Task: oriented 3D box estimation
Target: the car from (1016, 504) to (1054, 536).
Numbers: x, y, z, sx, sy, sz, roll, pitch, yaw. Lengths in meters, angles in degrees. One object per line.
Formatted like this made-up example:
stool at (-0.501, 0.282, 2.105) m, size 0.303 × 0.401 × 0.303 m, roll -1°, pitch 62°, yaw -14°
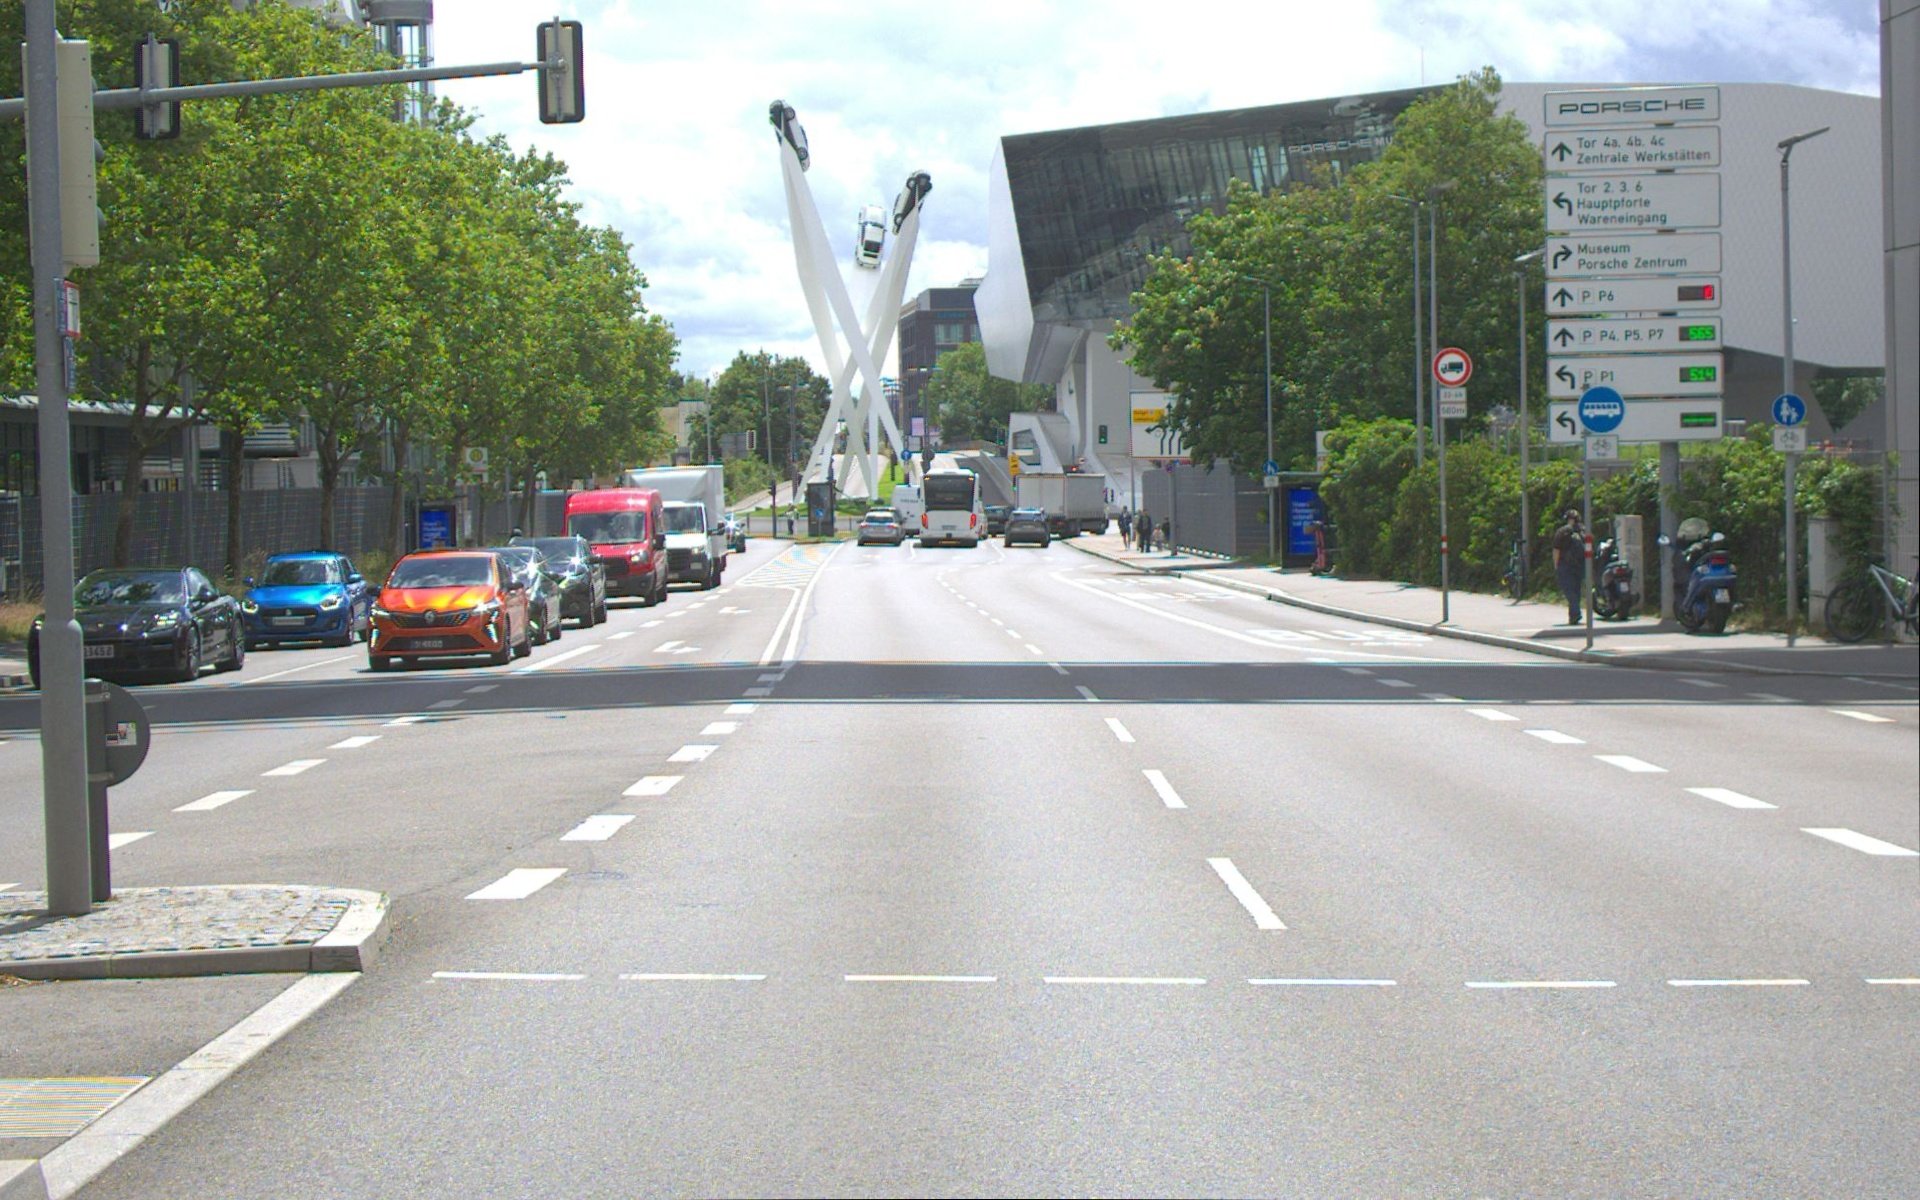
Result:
car at (3.170, -3.399, 146.215) m, size 1.557 × 1.269 × 3.701 m, roll -3°, pitch 1°, yaw 1°

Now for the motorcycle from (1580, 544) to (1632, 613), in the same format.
motorcycle at (9.768, -0.335, 52.012) m, size 0.457 × 1.019 × 1.912 m, roll 1°, pitch 1°, yaw 1°

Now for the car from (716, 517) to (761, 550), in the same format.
car at (-9.063, -2.750, 140.984) m, size 1.557 × 1.269 × 3.701 m, roll -3°, pitch 1°, yaw 0°

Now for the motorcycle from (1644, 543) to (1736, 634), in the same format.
motorcycle at (9.548, -0.157, 45.029) m, size 0.418 × 1.162 × 1.957 m, roll 1°, pitch 1°, yaw -11°

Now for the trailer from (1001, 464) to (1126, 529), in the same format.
trailer at (5.275, -5.140, 172.236) m, size 3.322 × 2.984 × 10.366 m, roll 1°, pitch 1°, yaw 19°

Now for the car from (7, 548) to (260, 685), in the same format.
car at (-10.187, 0.158, 42.756) m, size 1.917 × 1.483 × 4.772 m, roll -3°, pitch 1°, yaw 0°

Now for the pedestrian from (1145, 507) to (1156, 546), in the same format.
pedestrian at (7.094, -2.740, 128.088) m, size 0.386 × 1.416 × 0.423 m, roll 1°, pitch 0°, yaw 0°

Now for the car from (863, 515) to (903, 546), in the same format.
car at (-3.322, -3.015, 148.733) m, size 1.557 × 1.269 × 3.701 m, roll -3°, pitch 1°, yaw 1°

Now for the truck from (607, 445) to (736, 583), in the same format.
truck at (-7.251, -2.127, 87.164) m, size 2.591 × 3.312 × 7.079 m, roll 1°, pitch 1°, yaw 0°

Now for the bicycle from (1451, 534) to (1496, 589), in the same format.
bicycle at (9.742, -0.732, 65.270) m, size 0.418 × 1.019 × 1.913 m, roll 1°, pitch 1°, yaw -5°

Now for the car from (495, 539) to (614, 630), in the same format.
car at (-7.022, -0.297, 59.826) m, size 1.557 × 1.443 × 3.773 m, roll -3°, pitch 1°, yaw 0°

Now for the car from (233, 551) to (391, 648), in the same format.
car at (-10.198, -0.030, 54.350) m, size 1.727 × 1.378 × 3.701 m, roll -3°, pitch 1°, yaw 0°

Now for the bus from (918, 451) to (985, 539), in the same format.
bus at (-0.350, -4.542, 150.185) m, size 2.787 × 3.673 × 6.943 m, roll 1°, pitch 1°, yaw 0°

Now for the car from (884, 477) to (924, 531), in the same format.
car at (-2.784, -4.810, 172.546) m, size 1.843 × 2.614 × 4.000 m, roll 1°, pitch 1°, yaw 1°

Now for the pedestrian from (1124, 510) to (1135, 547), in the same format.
pedestrian at (6.502, -2.744, 132.057) m, size 0.386 × 1.416 × 0.423 m, roll 1°, pitch 0°, yaw 0°

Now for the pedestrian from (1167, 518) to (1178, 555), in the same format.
pedestrian at (8.175, -2.454, 132.343) m, size 0.386 × 1.416 × 0.423 m, roll 1°, pitch 0°, yaw 0°

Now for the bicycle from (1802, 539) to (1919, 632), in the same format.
bicycle at (11.172, -0.168, 40.874) m, size 2.222 × 1.083 × 0.476 m, roll 1°, pitch 1°, yaw 35°

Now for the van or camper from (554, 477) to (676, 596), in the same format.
van or camper at (-7.370, -1.382, 73.907) m, size 2.047 × 2.458 × 5.595 m, roll 0°, pitch 1°, yaw 0°

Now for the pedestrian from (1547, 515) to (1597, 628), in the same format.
pedestrian at (8.879, -0.415, 49.918) m, size 0.533 × 1.635 × 0.658 m, roll 1°, pitch 0°, yaw -6°

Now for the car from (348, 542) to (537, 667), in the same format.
car at (-6.524, 0.025, 43.705) m, size 1.769 × 1.415 × 3.701 m, roll -3°, pitch 1°, yaw 0°

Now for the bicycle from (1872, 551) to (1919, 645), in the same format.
bicycle at (11.663, -0.011, 39.544) m, size 2.222 × 1.083 × 0.476 m, roll 1°, pitch 1°, yaw 35°

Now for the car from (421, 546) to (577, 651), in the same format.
car at (-6.865, -0.052, 51.555) m, size 1.769 × 1.415 × 3.701 m, roll -3°, pitch 1°, yaw 0°
